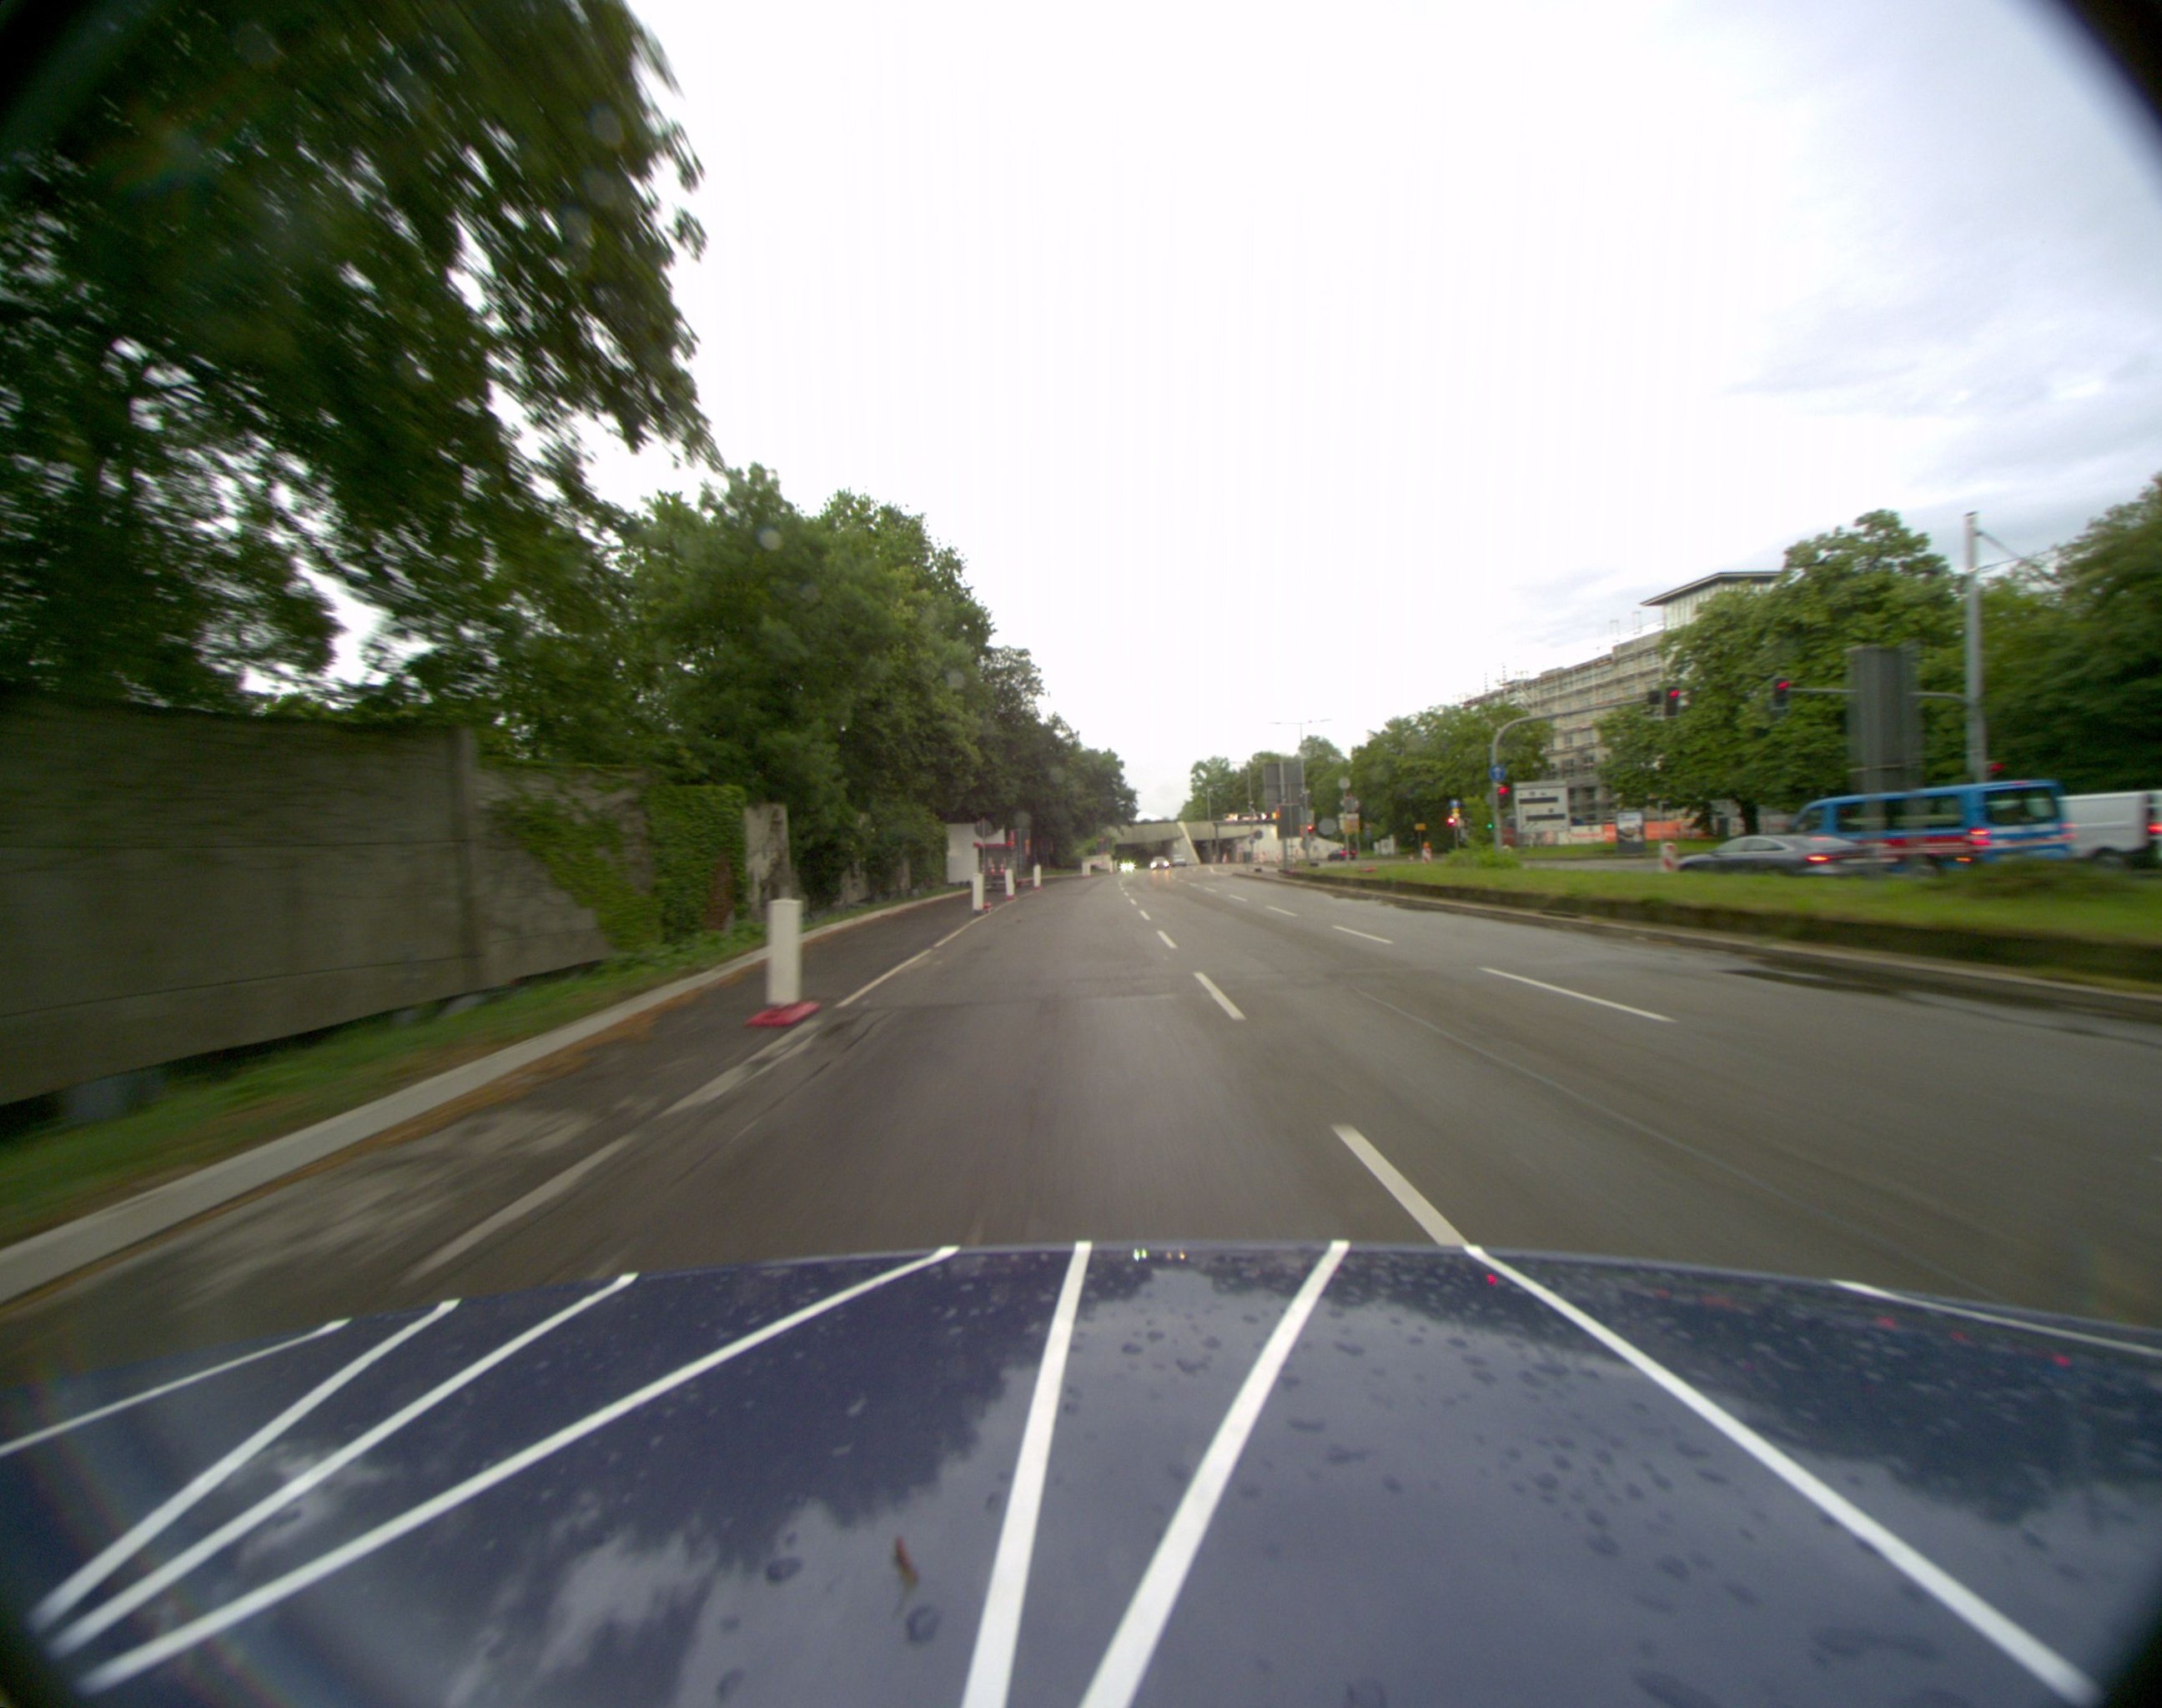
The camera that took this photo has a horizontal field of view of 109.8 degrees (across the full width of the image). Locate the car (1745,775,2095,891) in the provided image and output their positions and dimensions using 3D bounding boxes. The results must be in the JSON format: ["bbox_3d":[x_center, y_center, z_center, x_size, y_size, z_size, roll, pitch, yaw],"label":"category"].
[{"bbox_3d":[20.839,-0.398,19.538,2.200,2.376,6.246,-3,-1,3],"label":"car"}]

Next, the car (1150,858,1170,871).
[{"bbox_3d":[9.122,1.168,87.654,1.698,1.393,3.824,-2,0,-2],"label":"car"}]

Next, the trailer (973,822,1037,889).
[{"bbox_3d":[-4.265,0.062,44.013,2.312,3.568,5.963,-1,0,8],"label":"trailer"}]

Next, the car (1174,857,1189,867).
[{"bbox_3d":[13.488,1.073,101.981,1.697,1.300,3.826,-2,0,3],"label":"car"}]

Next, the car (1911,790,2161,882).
[{"bbox_3d":[24.109,-0.396,18.662,2.039,1.962,4.992,-3,-1,3],"label":"car"}]

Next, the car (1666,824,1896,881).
[{"bbox_3d":[17.301,-0.034,19.163,1.553,1.193,4.646,-3,0,1],"label":"car"}]
